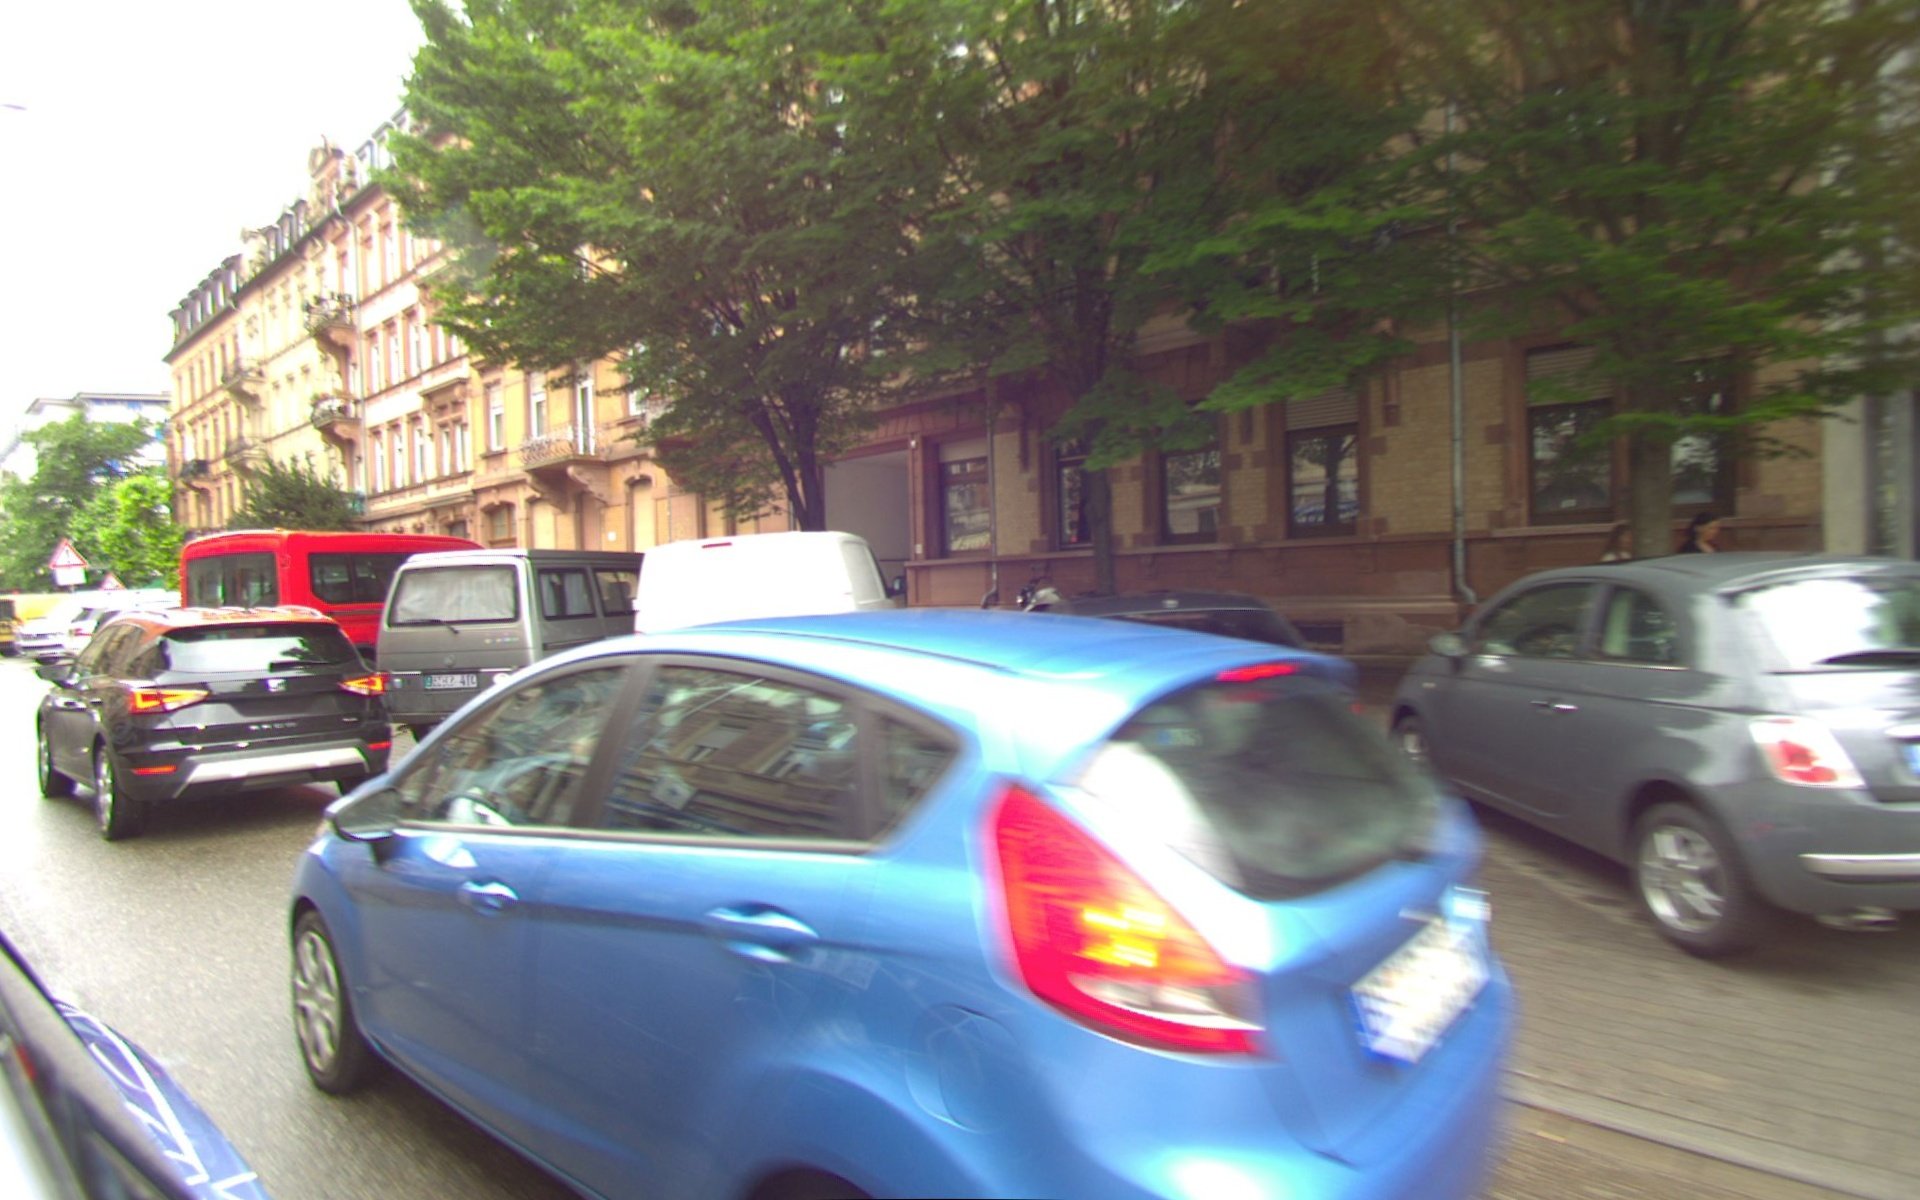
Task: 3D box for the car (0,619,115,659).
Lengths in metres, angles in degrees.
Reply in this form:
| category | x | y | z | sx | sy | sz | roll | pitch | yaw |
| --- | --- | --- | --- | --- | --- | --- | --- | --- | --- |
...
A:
| category | x | y | z | sx | sy | sz | roll | pitch | yaw |
| --- | --- | --- | --- | --- | --- | --- | --- | --- | --- |
| car | -36.494 | 1.535 | 40.438 | 1.807 | 1.506 | 3.987 | -1 | -1 | 10 |

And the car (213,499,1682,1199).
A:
| category | x | y | z | sx | sy | sz | roll | pitch | yaw |
| --- | --- | --- | --- | --- | --- | --- | --- | --- | --- |
| car | -0.533 | 0.663 | 2.818 | 4.001 | 1.476 | 1.652 | -1 | 0 | 41 |

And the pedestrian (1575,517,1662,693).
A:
| category | x | y | z | sx | sy | sz | roll | pitch | yaw |
| --- | --- | --- | --- | --- | --- | --- | --- | --- | --- |
| pedestrian | 5.983 | 0.030 | 9.186 | 0.586 | 1.507 | 0.682 | -2 | 4 | 37 |

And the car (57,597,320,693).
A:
| category | x | y | z | sx | sy | sz | roll | pitch | yaw |
| --- | --- | --- | --- | --- | --- | --- | --- | --- | --- |
| car | -17.120 | 0.926 | 22.783 | 1.828 | 1.642 | 4.424 | -3 | 3 | 16 |

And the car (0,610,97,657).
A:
| category | x | y | z | sx | sy | sz | roll | pitch | yaw |
| --- | --- | --- | --- | --- | --- | --- | --- | --- | --- |
| car | -40.510 | 1.434 | 44.216 | 1.779 | 1.674 | 4.133 | -1 | 3 | 5 |

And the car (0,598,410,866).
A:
| category | x | y | z | sx | sy | sz | roll | pitch | yaw |
| --- | --- | --- | --- | --- | --- | --- | --- | --- | --- |
| car | -6.109 | 0.821 | 7.978 | 3.998 | 1.571 | 1.654 | -1 | 1 | 38 |

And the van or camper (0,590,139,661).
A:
| category | x | y | z | sx | sy | sz | roll | pitch | yaw |
| --- | --- | --- | --- | --- | --- | --- | --- | --- | --- |
| van or camper | -34.222 | 0.926 | 38.153 | 2.160 | 2.284 | 4.714 | -3 | 2 | 9 |

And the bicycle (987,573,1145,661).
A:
| category | x | y | z | sx | sy | sz | roll | pitch | yaw |
| --- | --- | --- | --- | --- | --- | --- | --- | --- | --- |
| bicycle | 1.565 | 0.258 | 15.353 | 2.412 | 1.202 | 0.660 | -1 | 4 | 43 |

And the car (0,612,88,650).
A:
| category | x | y | z | sx | sy | sz | roll | pitch | yaw |
| --- | --- | --- | --- | --- | --- | --- | --- | --- | --- |
| car | -46.727 | 1.581 | 50.484 | 1.977 | 1.574 | 4.715 | -4 | 2 | 8 |

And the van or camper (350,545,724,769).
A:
| category | x | y | z | sx | sy | sz | roll | pitch | yaw |
| --- | --- | --- | --- | --- | --- | --- | --- | --- | --- |
| van or camper | -4.366 | 0.417 | 11.376 | 1.761 | 1.989 | 4.438 | -2 | 3 | 9 |

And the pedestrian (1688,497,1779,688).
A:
| category | x | y | z | sx | sy | sz | roll | pitch | yaw |
| --- | --- | --- | --- | --- | --- | --- | --- | --- | --- |
| pedestrian | 6.826 | -0.076 | 8.950 | 0.588 | 1.613 | 0.562 | -2 | 4 | 37 |

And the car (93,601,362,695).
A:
| category | x | y | z | sx | sy | sz | roll | pitch | yaw |
| --- | --- | --- | --- | --- | --- | --- | --- | --- | --- |
| car | -15.172 | 0.929 | 21.286 | 1.741 | 1.515 | 4.330 | -3 | 2 | 19 |

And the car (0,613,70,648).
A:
| category | x | y | z | sx | sy | sz | roll | pitch | yaw |
| --- | --- | --- | --- | --- | --- | --- | --- | --- | --- |
| car | -50.324 | 1.622 | 53.691 | 1.975 | 1.575 | 4.452 | -1 | 3 | 5 |

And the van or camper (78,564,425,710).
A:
| category | x | y | z | sx | sy | sz | roll | pitch | yaw |
| --- | --- | --- | --- | --- | --- | --- | --- | --- | --- |
| van or camper | -13.077 | 0.573 | 19.179 | 2.323 | 2.367 | 5.001 | -2 | 1 | 16 |

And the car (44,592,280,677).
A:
| category | x | y | z | sx | sy | sz | roll | pitch | yaw |
| --- | --- | --- | --- | --- | --- | --- | --- | --- | --- |
| car | -21.426 | 0.847 | 27.313 | 2.544 | 1.798 | 4.532 | -1 | 3 | 41 |

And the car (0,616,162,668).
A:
| category | x | y | z | sx | sy | sz | roll | pitch | yaw |
| --- | --- | --- | --- | --- | --- | --- | --- | --- | --- |
| car | -29.718 | 1.377 | 34.255 | 1.767 | 1.446 | 3.984 | -2 | 1 | 13 |

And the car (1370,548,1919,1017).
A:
| category | x | y | z | sx | sy | sz | roll | pitch | yaw |
| --- | --- | --- | --- | --- | --- | --- | --- | --- | --- |
| car | 3.533 | 0.556 | 4.875 | 1.628 | 1.446 | 3.481 | -1 | 0 | -1 |

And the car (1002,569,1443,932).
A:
| category | x | y | z | sx | sy | sz | roll | pitch | yaw |
| --- | --- | --- | --- | --- | --- | --- | --- | --- | --- |
| car | 1.195 | 0.592 | 6.294 | 1.744 | 1.457 | 3.977 | -3 | 2 | 2 |

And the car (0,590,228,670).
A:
| category | x | y | z | sx | sy | sz | roll | pitch | yaw |
| --- | --- | --- | --- | --- | --- | --- | --- | --- | --- |
| car | -25.583 | 0.821 | 30.821 | 1.854 | 2.094 | 5.224 | -1 | 1 | 17 |

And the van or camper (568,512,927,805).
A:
| category | x | y | z | sx | sy | sz | roll | pitch | yaw |
| --- | --- | --- | --- | --- | --- | --- | --- | --- | --- |
| van or camper | -1.594 | 0.348 | 9.598 | 2.305 | 1.967 | 4.698 | -3 | 2 | 0 |

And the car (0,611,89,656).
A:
| category | x | y | z | sx | sy | sz | roll | pitch | yaw |
| --- | --- | --- | --- | --- | --- | --- | --- | --- | --- |
| car | -42.773 | 1.528 | 46.426 | 1.779 | 1.674 | 4.133 | -2 | 3 | 6 |

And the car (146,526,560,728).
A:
| category | x | y | z | sx | sy | sz | roll | pitch | yaw |
| --- | --- | --- | --- | --- | --- | --- | --- | --- | --- |
| car | -9.004 | 0.316 | 15.826 | 2.208 | 2.560 | 5.548 | -2 | 1 | 14 |
